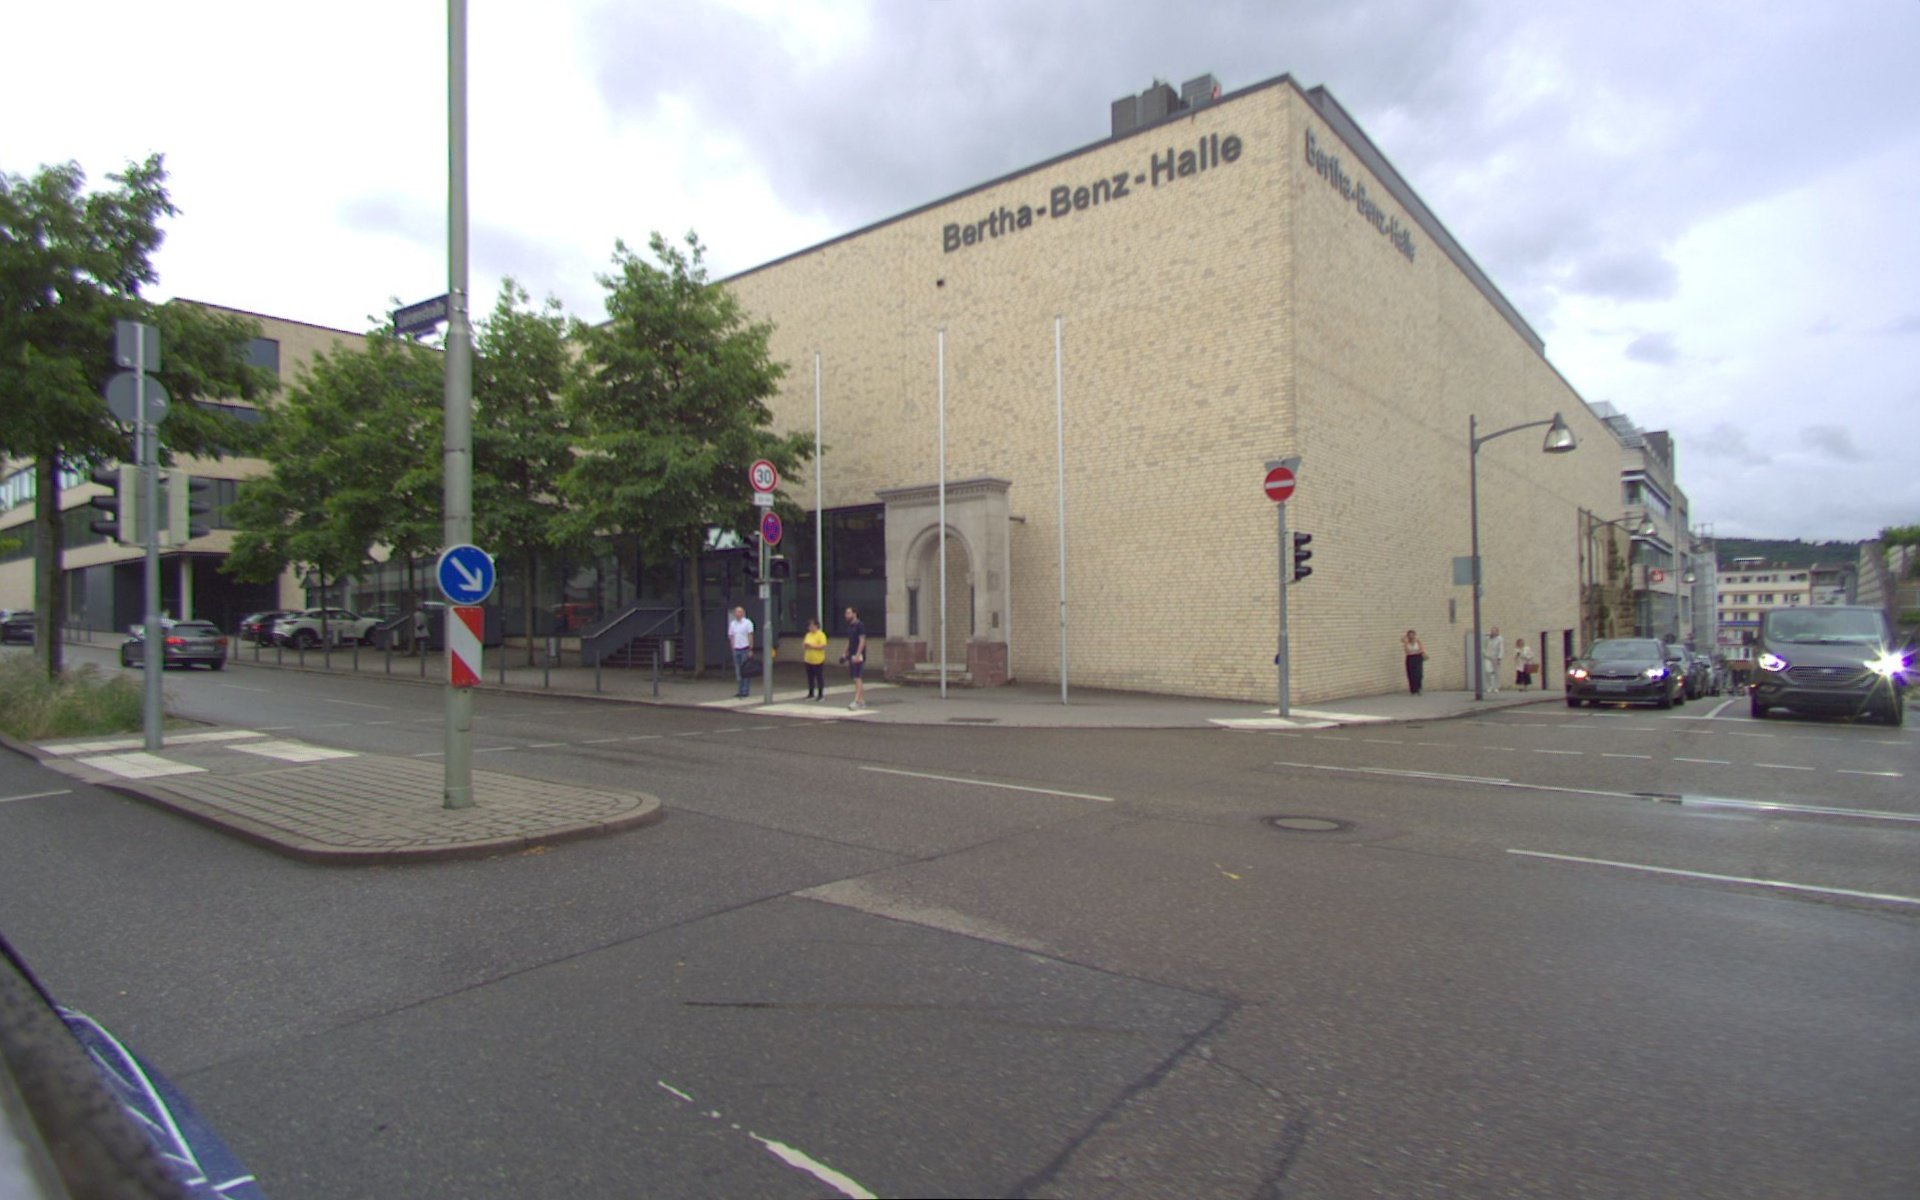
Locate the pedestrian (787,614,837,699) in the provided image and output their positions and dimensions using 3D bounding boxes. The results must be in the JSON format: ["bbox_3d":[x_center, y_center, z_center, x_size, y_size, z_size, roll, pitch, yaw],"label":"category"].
[{"bbox_3d":[-2.757,1.043,18.850,0.691,1.528,0.588,-1,0,38],"label":"pedestrian"}]

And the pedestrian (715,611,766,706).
[{"bbox_3d":[-4.146,1.096,19.129,0.690,1.744,0.589,-1,0,34],"label":"pedestrian"}]

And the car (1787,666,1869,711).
[{"bbox_3d":[30.975,3.160,36.221,1.997,1.469,3.948,-2,-5,38],"label":"car"}]

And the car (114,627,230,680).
[{"bbox_3d":[-23.727,1.593,30.421,4.293,1.481,1.655,-2,-3,37],"label":"car"}]

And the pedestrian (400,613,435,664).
[{"bbox_3d":[-18.515,1.297,34.543,0.793,1.659,0.976,-2,0,-45],"label":"pedestrian"}]

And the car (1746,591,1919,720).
[{"bbox_3d":[15.171,1.013,17.725,1.996,1.940,4.734,-2,-5,36],"label":"car"}]

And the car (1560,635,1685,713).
[{"bbox_3d":[13.879,1.546,21.200,1.995,1.453,3.953,-1,-5,34],"label":"car"}]

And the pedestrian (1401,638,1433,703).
[{"bbox_3d":[10.055,1.536,22.281,0.474,1.386,0.615,-1,0,39],"label":"pedestrian"}]

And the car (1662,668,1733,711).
[{"bbox_3d":[27.275,3.293,37.474,1.996,1.469,3.951,-2,-5,36],"label":"car"}]

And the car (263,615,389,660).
[{"bbox_3d":[-25.693,1.488,41.088,2.000,1.597,3.944,-1,0,42],"label":"car"}]

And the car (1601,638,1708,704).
[{"bbox_3d":[17.174,1.757,24.994,1.996,1.469,3.951,-2,-5,36],"label":"car"}]

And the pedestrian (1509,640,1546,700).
[{"bbox_3d":[16.742,2.041,29.866,0.806,1.684,1.100,-1,0,36],"label":"pedestrian"}]

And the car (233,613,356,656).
[{"bbox_3d":[-27.822,1.408,42.379,2.000,1.597,3.944,-1,0,42],"label":"car"}]

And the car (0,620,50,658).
[{"bbox_3d":[-43.263,1.794,46.226,4.293,1.620,1.655,-2,-4,37],"label":"car"}]

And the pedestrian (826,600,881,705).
[{"bbox_3d":[-1.857,0.897,17.664,0.691,1.784,0.588,-1,0,38],"label":"pedestrian"}]

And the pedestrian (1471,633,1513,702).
[{"bbox_3d":[13.962,1.743,26.550,0.806,1.713,1.100,-1,0,36],"label":"pedestrian"}]
